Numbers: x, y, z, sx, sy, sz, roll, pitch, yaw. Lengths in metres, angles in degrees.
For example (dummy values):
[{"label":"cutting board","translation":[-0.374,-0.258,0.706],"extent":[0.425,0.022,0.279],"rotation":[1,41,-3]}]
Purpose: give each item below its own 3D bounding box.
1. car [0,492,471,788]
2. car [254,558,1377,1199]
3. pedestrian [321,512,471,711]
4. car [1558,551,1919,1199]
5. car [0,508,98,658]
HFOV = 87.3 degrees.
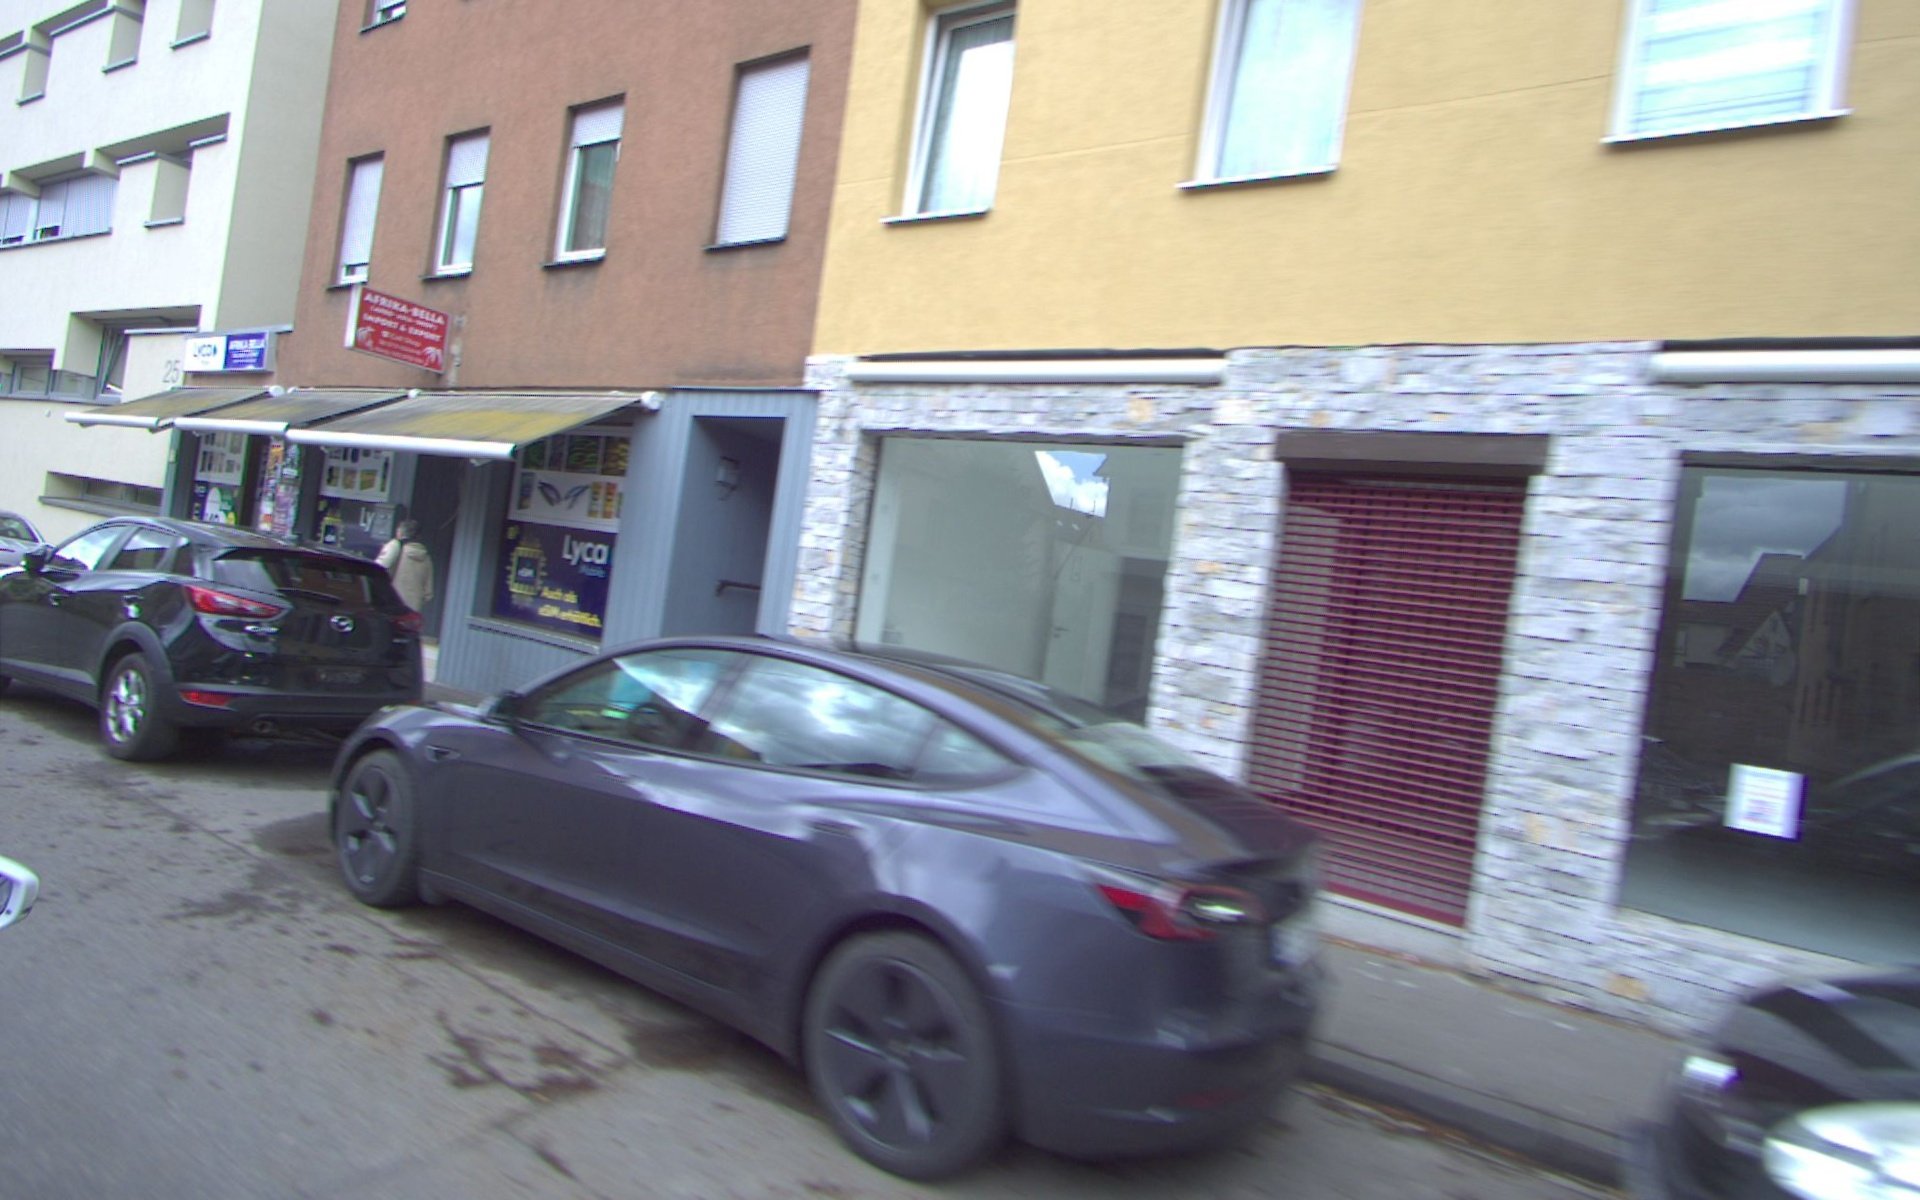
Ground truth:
[{"label":"car","translation":[-5.770,0.178,7.462],"extent":[4.136,1.535,1.606],"rotation":[7,-2,29]},{"label":"car","translation":[-0.849,0.812,4.187],"extent":[4.437,1.423,1.753],"rotation":[7,-1,32]},{"label":"pedestrian","translation":[-5.164,0.106,9.216],"extent":[0.874,1.669,0.702],"rotation":[8,1,31]},{"label":"car","translation":[3.416,1.131,1.289],"extent":[4.328,1.801,1.824],"rotation":[7,-2,30]},{"label":"car","translation":[-10.669,-0.366,10.300],"extent":[3.748,1.348,1.555],"rotation":[7,-2,30]}]
